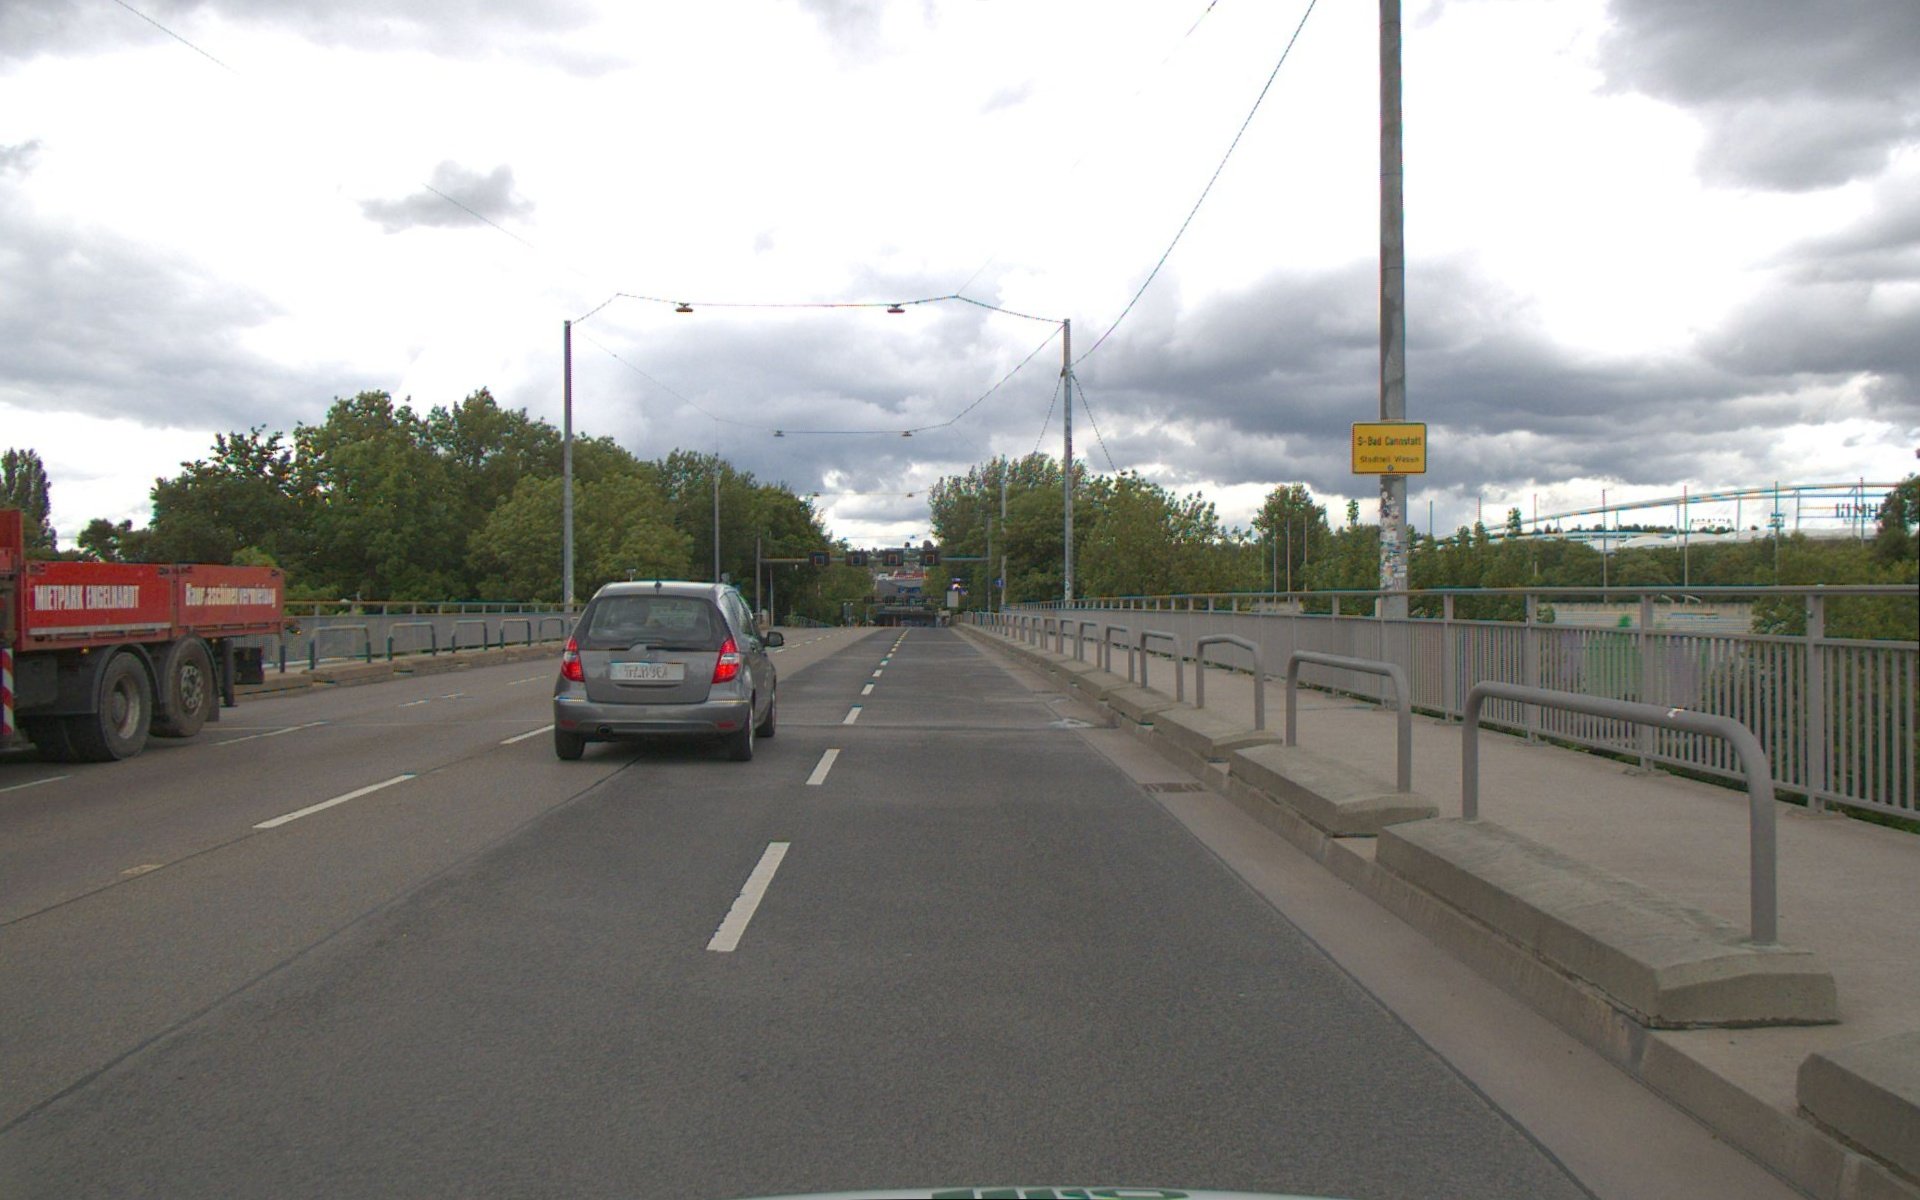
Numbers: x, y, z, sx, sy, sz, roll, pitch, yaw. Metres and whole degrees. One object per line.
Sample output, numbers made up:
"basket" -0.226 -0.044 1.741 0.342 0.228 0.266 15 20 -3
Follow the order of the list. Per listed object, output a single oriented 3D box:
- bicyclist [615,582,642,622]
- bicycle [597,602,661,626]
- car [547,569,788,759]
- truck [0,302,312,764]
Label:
"bicyclist" -14.834 0.102 74.035 1.110 1.795 0.904 0 0 -6
"bicycle" -14.810 0.617 74.041 2.737 1.069 0.919 0 0 -7
"car" -2.651 0.523 15.817 1.710 1.577 3.870 1 0 -2
"truck" -9.042 -0.513 14.527 2.945 3.628 9.979 -1 0 -2
